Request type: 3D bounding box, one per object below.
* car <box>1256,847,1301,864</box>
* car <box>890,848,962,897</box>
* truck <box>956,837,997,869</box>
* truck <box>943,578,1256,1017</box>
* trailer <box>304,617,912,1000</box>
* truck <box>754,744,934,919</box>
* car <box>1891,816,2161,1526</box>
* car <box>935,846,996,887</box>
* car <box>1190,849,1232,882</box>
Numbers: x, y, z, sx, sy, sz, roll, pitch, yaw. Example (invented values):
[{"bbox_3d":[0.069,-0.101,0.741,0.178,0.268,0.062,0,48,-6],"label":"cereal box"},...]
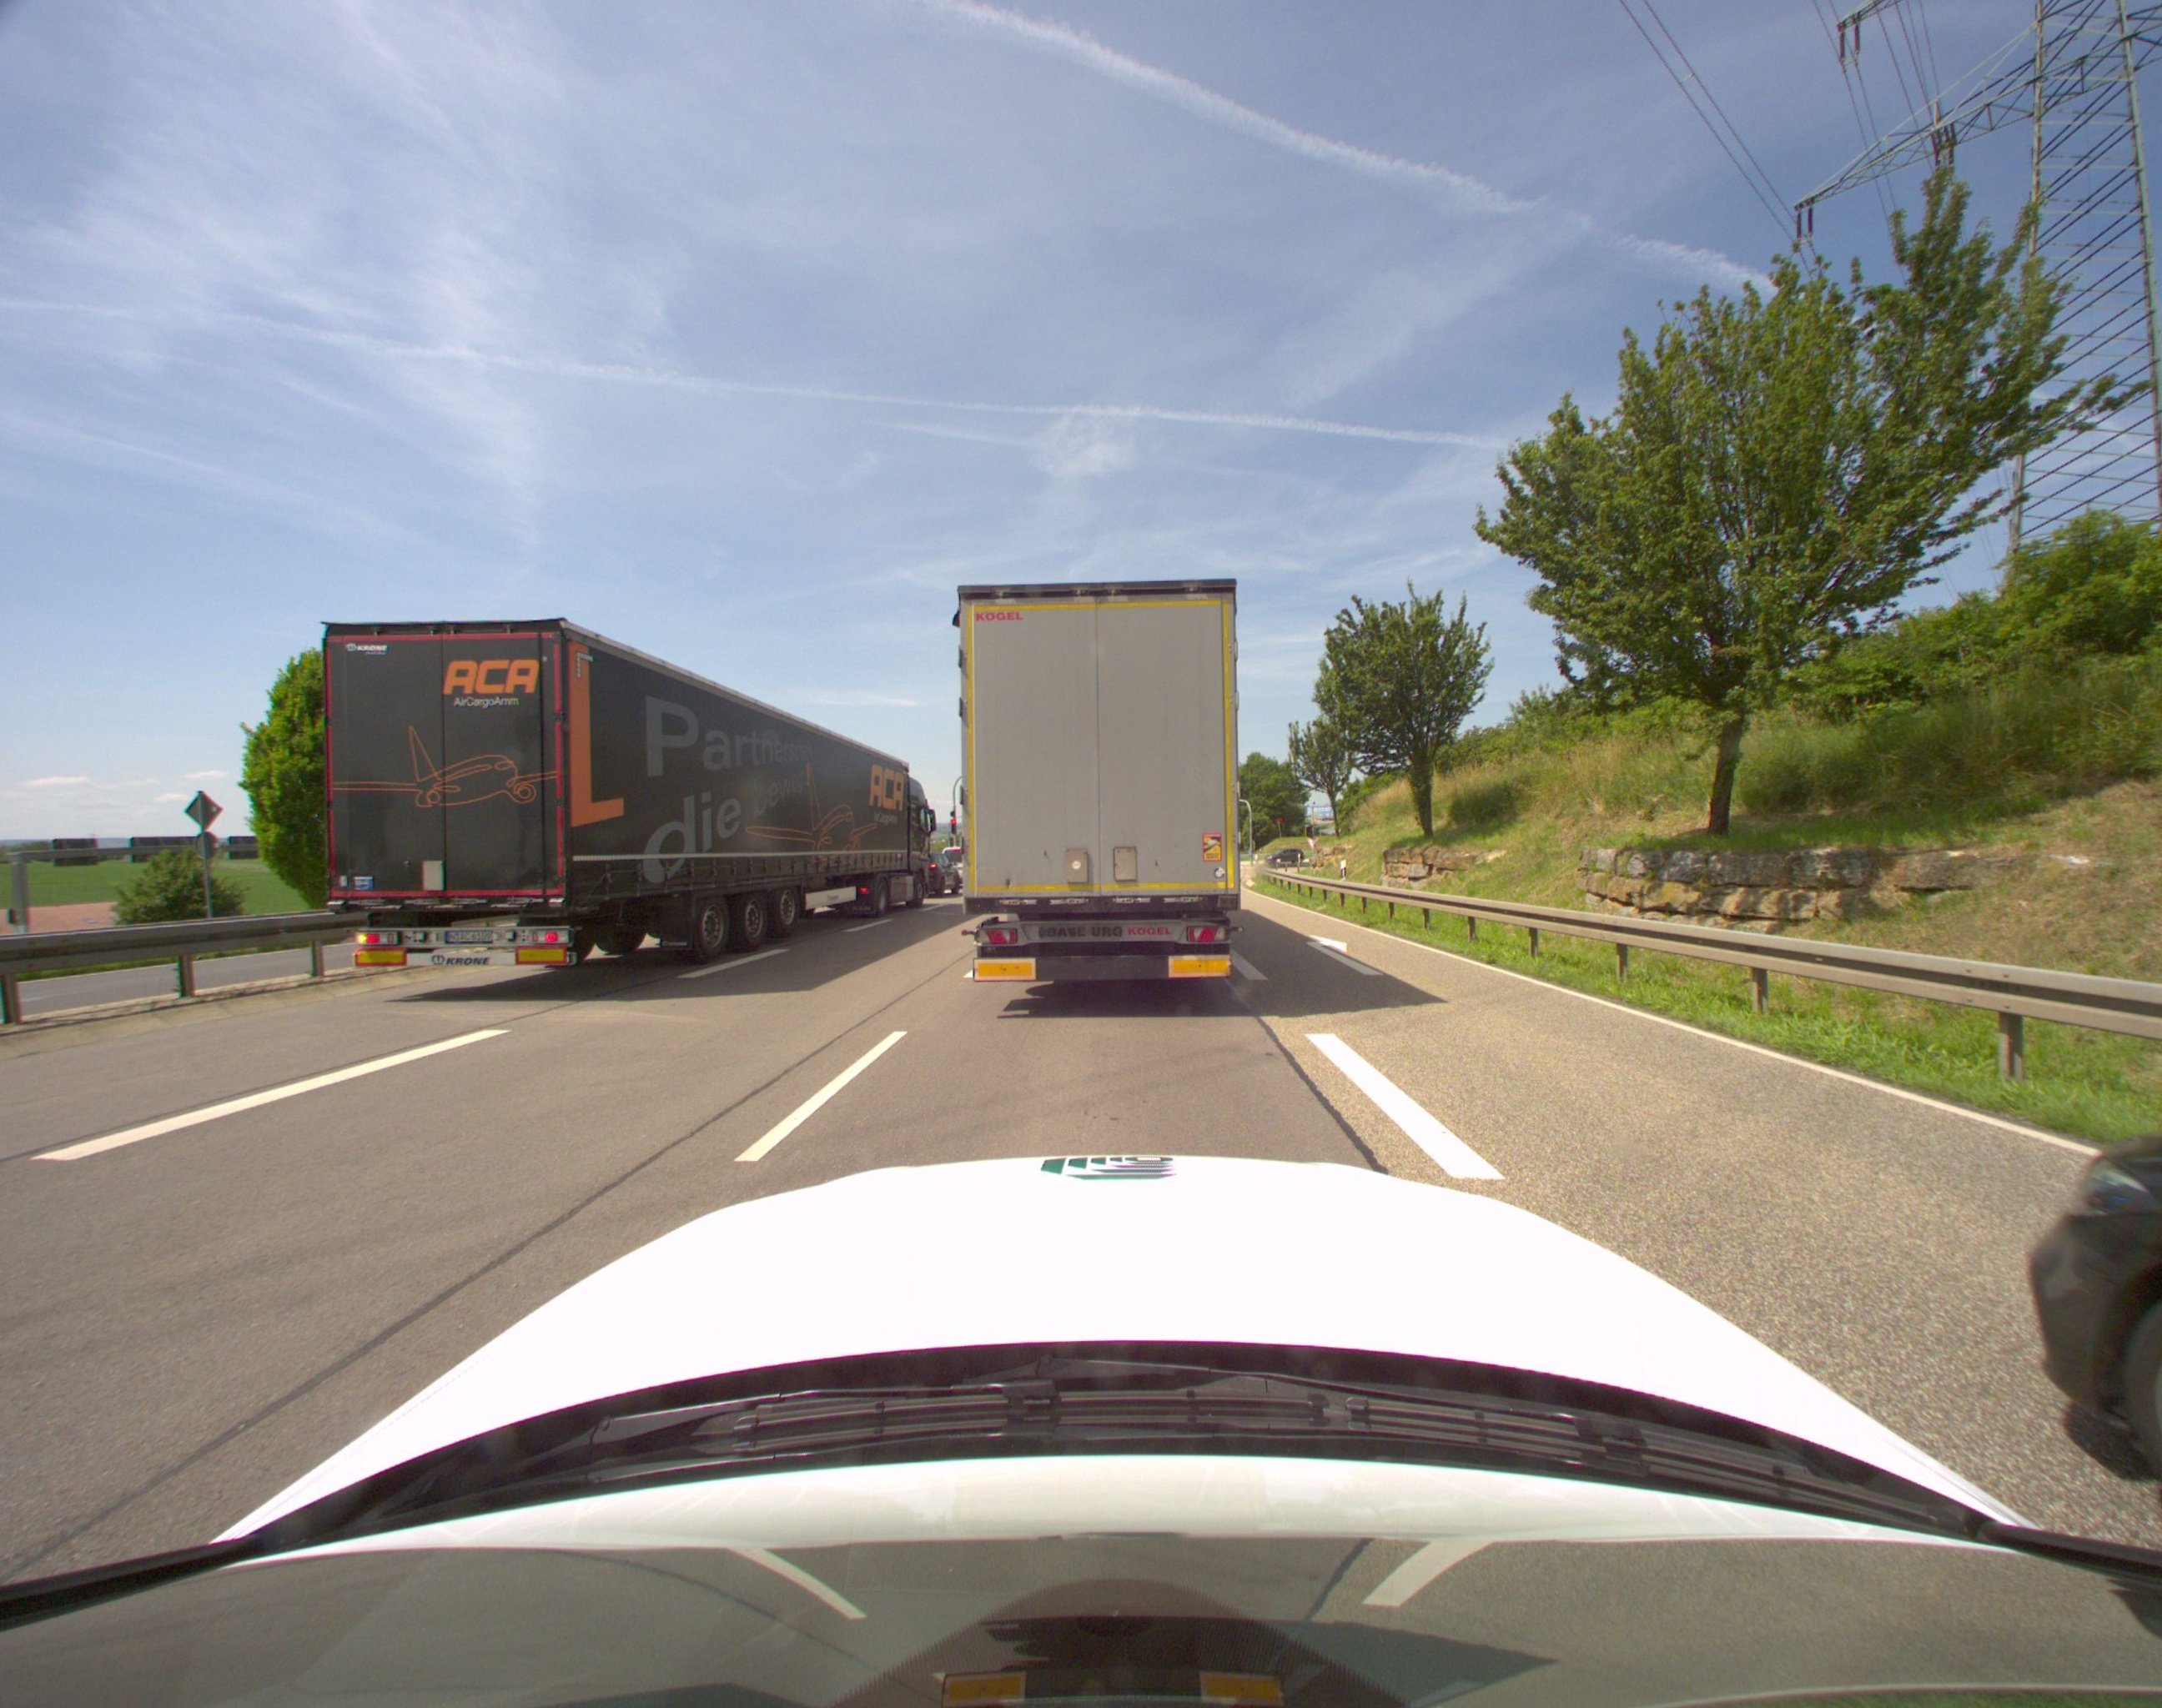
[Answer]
[{"bbox_3d":[19.445,0.161,80.185,3.981,1.510,1.713,-1,-1,-6],"label":"car"},{"bbox_3d":[-5.625,0.638,30.023,1.850,1.657,4.347,0,0,-1],"label":"car"},{"bbox_3d":[-10.300,-0.077,80.667,2.787,3.013,5.996,-2,-1,4],"label":"truck"},{"bbox_3d":[0.350,-0.474,12.988,2.788,3.929,11.346,0,0,2],"label":"truck"},{"bbox_3d":[-6.302,-0.454,15.246,2.772,3.913,13.796,0,0,3],"label":"trailer"},{"bbox_3d":[-6.005,-0.520,21.743,2.772,4.013,5.975,0,0,2],"label":"truck"},{"bbox_3d":[3.136,0.665,0.178,1.739,1.532,4.300,0,-1,2],"label":"car"},{"bbox_3d":[-5.297,0.555,38.026,1.759,1.798,4.758,0,0,5],"label":"car"},{"bbox_3d":[6.888,0.581,42.862,1.783,1.640,4.016,-1,-1,15],"label":"car"}]
